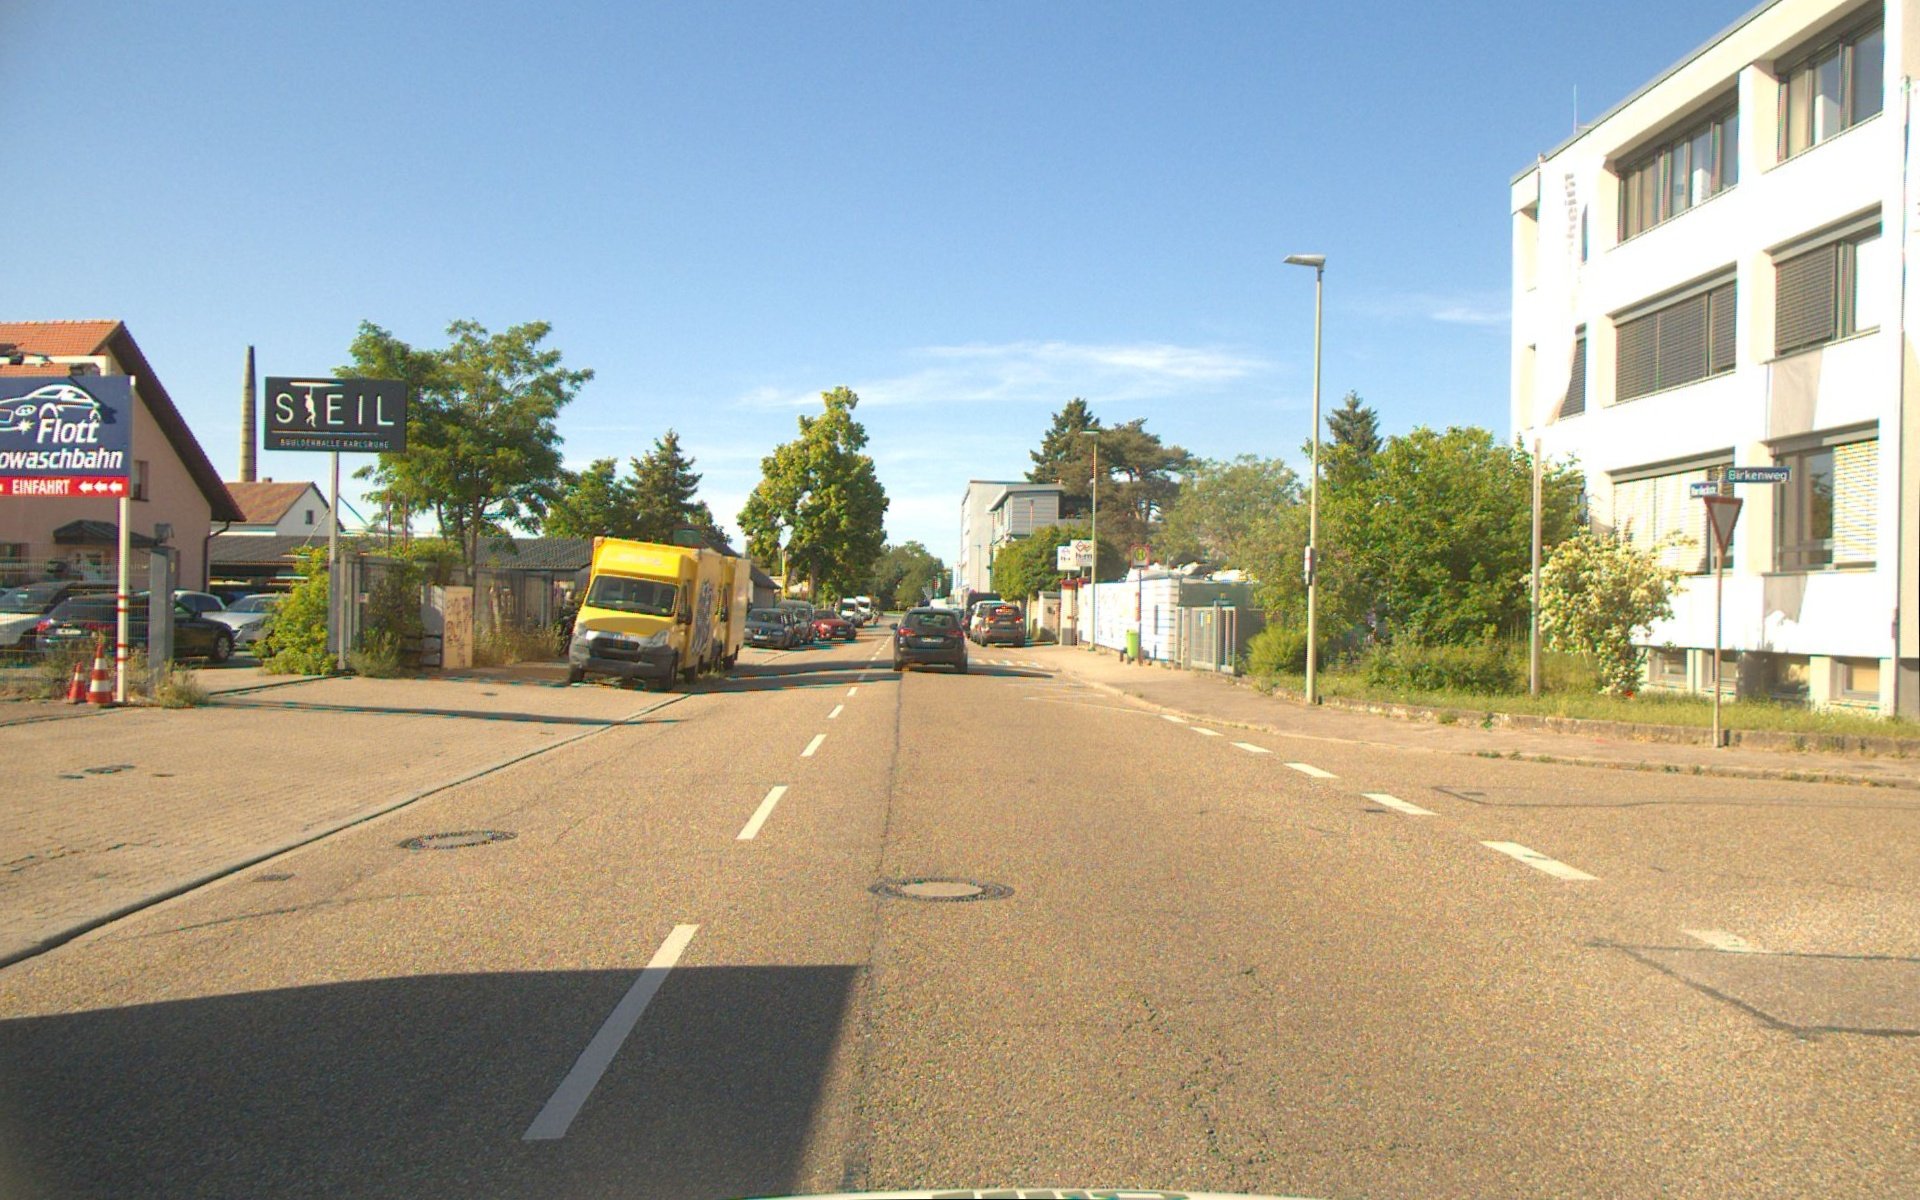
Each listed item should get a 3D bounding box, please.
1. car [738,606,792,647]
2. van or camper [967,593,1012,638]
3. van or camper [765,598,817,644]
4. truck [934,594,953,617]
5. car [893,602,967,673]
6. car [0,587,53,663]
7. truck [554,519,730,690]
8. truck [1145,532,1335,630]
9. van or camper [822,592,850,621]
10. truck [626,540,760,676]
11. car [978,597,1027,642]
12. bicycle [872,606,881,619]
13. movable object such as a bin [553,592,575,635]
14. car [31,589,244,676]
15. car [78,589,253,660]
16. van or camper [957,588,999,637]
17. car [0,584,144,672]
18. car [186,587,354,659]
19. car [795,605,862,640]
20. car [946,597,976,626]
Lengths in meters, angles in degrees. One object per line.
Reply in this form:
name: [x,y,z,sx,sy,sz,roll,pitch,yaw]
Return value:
car: [-7.295,0.983,62.262,1.722,1.428,4.554,1,0,-3]
van or camper: [1.365,0.703,77.974,1.880,2.055,4.078,1,0,-2]
van or camper: [-7.322,0.912,72.115,1.852,1.959,4.265,0,-1,-1]
truck: [-1.792,0.560,177.213,1.953,2.328,6.953,1,0,-1]
car: [-0.700,0.855,39.338,1.677,1.559,3.687,0,0,-1]
car: [-21.286,0.511,34.845,1.658,1.606,3.921,1,0,12]
truck: [-6.300,0.092,33.671,2.354,3.035,6.372,3,0,-1]
truck: [11.540,-0.742,68.461,7.231,3.837,2.829,1,0,-6]
van or camper: [-10.792,0.541,143.874,2.278,2.403,6.521,1,0,-5]
truck: [-6.400,0.169,40.439,2.148,2.952,6.437,3,0,-1]
car: [1.805,0.800,71.429,1.880,1.857,4.078,1,0,-2]
bicycle: [-7.675,1.143,152.670,0.812,1.173,2.938,1,0,-3]
movable object such as a bin: [-12.759,0.423,53.285,0.573,1.363,0.549,1,0,-2]
car: [-16.379,0.590,33.164,1.658,1.606,4.048,1,1,12]
car: [-19.011,0.564,39.794,1.658,1.606,4.047,1,0,12]
van or camper: [0.879,0.619,83.129,1.953,2.351,3.999,1,0,-2]
car: [-18.855,0.533,33.874,1.658,1.690,4.047,1,0,12]
car: [-16.216,0.516,39.100,1.658,1.606,4.047,1,0,12]
car: [-6.201,1.047,77.453,1.852,1.511,4.011,-1,1,-25]
car: [0.064,0.775,110.399,1.880,1.857,4.078,1,0,-2]
